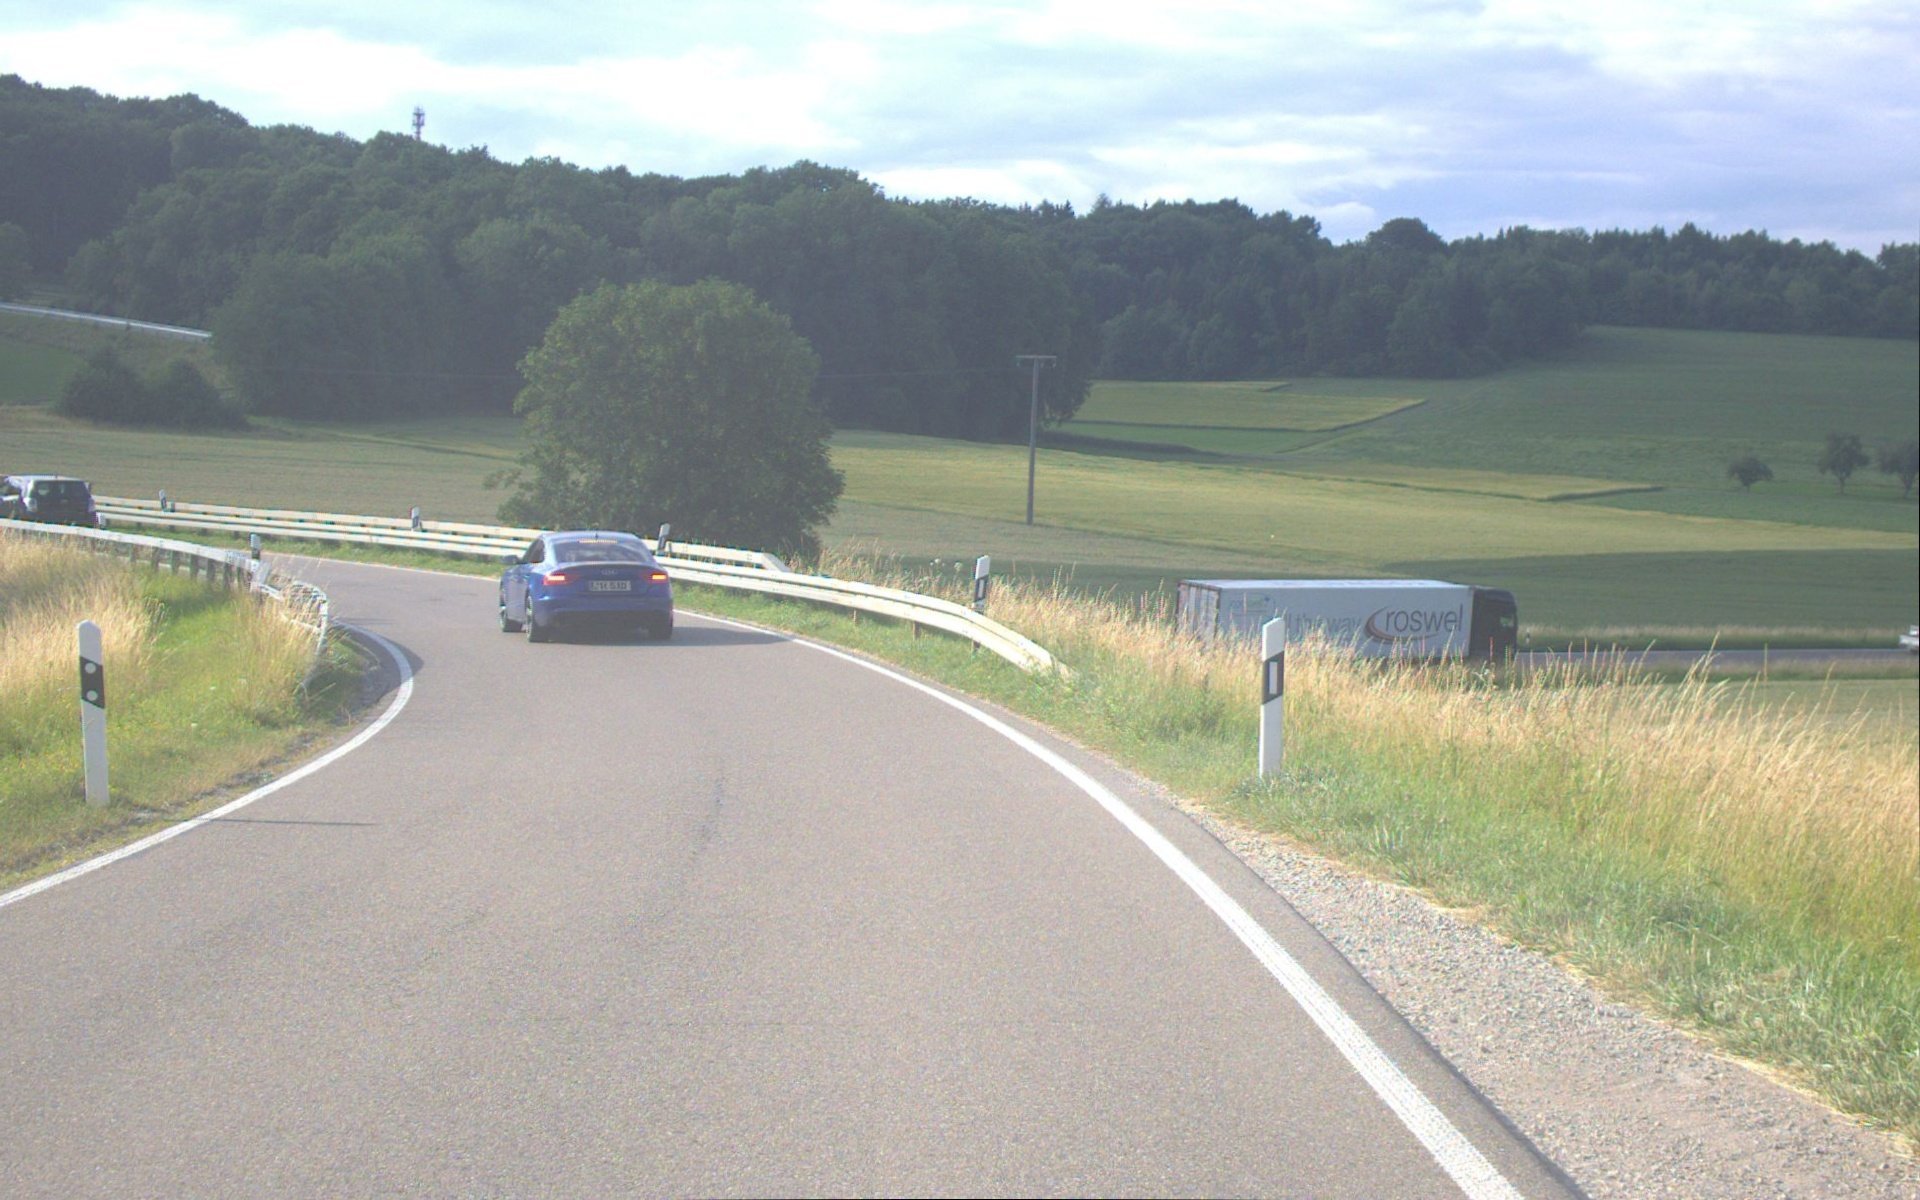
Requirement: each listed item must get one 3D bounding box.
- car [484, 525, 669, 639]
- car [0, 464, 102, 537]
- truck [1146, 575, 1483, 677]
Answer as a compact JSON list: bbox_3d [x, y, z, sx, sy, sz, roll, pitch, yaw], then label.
[{"bbox_3d":[-5.027,-0.272,44.622,1.818,1.334,4.352,0,2,-14],"label":"car"},{"bbox_3d":[-22.024,-2.374,81.482,1.862,1.563,4.000,0,3,-37],"label":"car"},{"bbox_3d":[14.548,1.019,140.006,14.378,3.983,4.079,0,0,-34],"label":"truck"}]
